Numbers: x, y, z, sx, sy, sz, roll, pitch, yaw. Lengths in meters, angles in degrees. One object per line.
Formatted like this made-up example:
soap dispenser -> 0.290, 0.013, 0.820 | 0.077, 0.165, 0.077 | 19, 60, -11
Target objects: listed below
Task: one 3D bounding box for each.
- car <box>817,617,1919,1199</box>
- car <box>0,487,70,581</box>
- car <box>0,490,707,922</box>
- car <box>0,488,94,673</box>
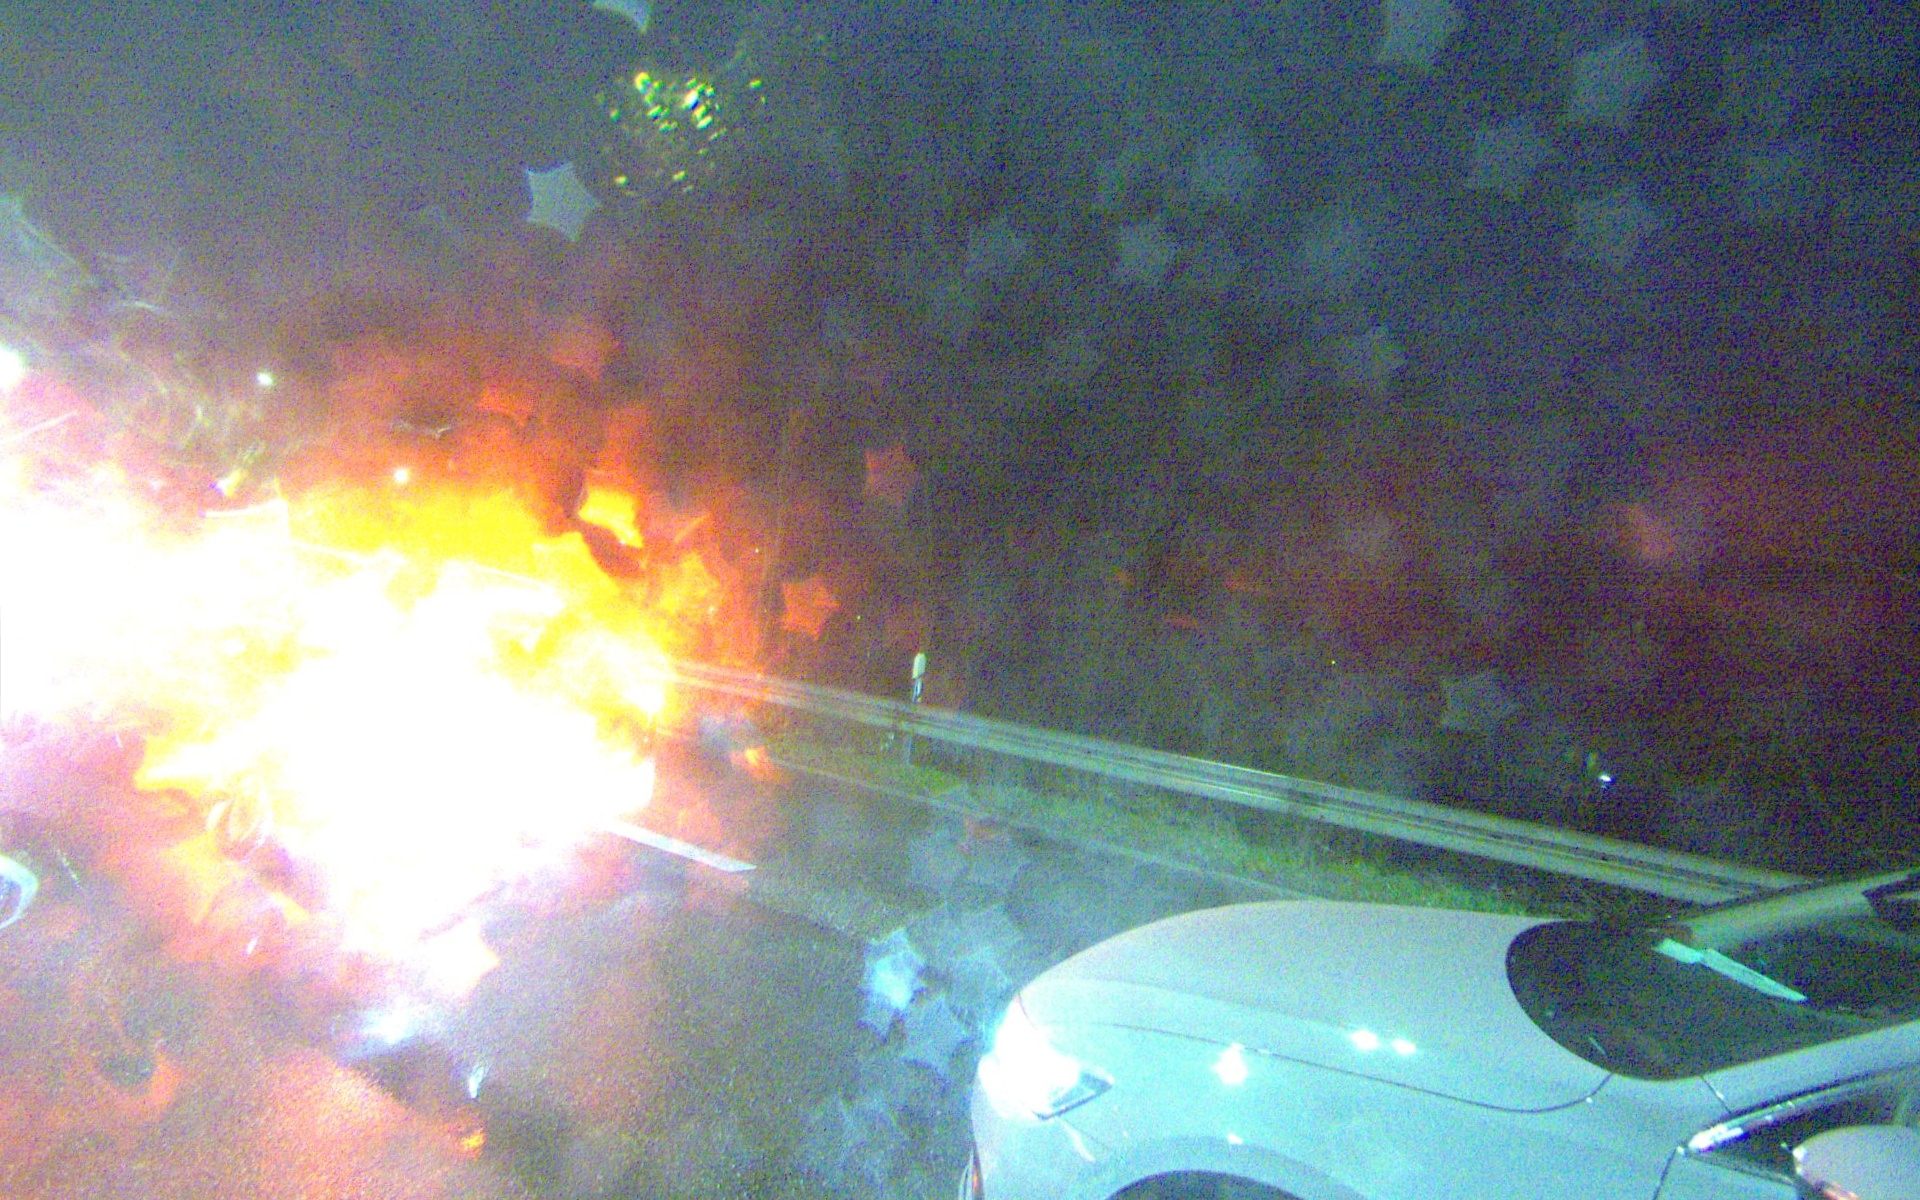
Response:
car -> 2.025, 1.080, 1.584 | 4.342, 1.539, 1.710 | 6, -2, 32
car -> -18.440, -1.410, 18.331 | 4.266, 1.496, 2.000 | 6, -4, 31
car -> -3.752, 0.377, 5.745 | 4.484, 1.522, 1.677 | 6, -3, 32
car -> -9.913, -0.380, 9.194 | 3.892, 1.539, 1.681 | 6, -2, 29
